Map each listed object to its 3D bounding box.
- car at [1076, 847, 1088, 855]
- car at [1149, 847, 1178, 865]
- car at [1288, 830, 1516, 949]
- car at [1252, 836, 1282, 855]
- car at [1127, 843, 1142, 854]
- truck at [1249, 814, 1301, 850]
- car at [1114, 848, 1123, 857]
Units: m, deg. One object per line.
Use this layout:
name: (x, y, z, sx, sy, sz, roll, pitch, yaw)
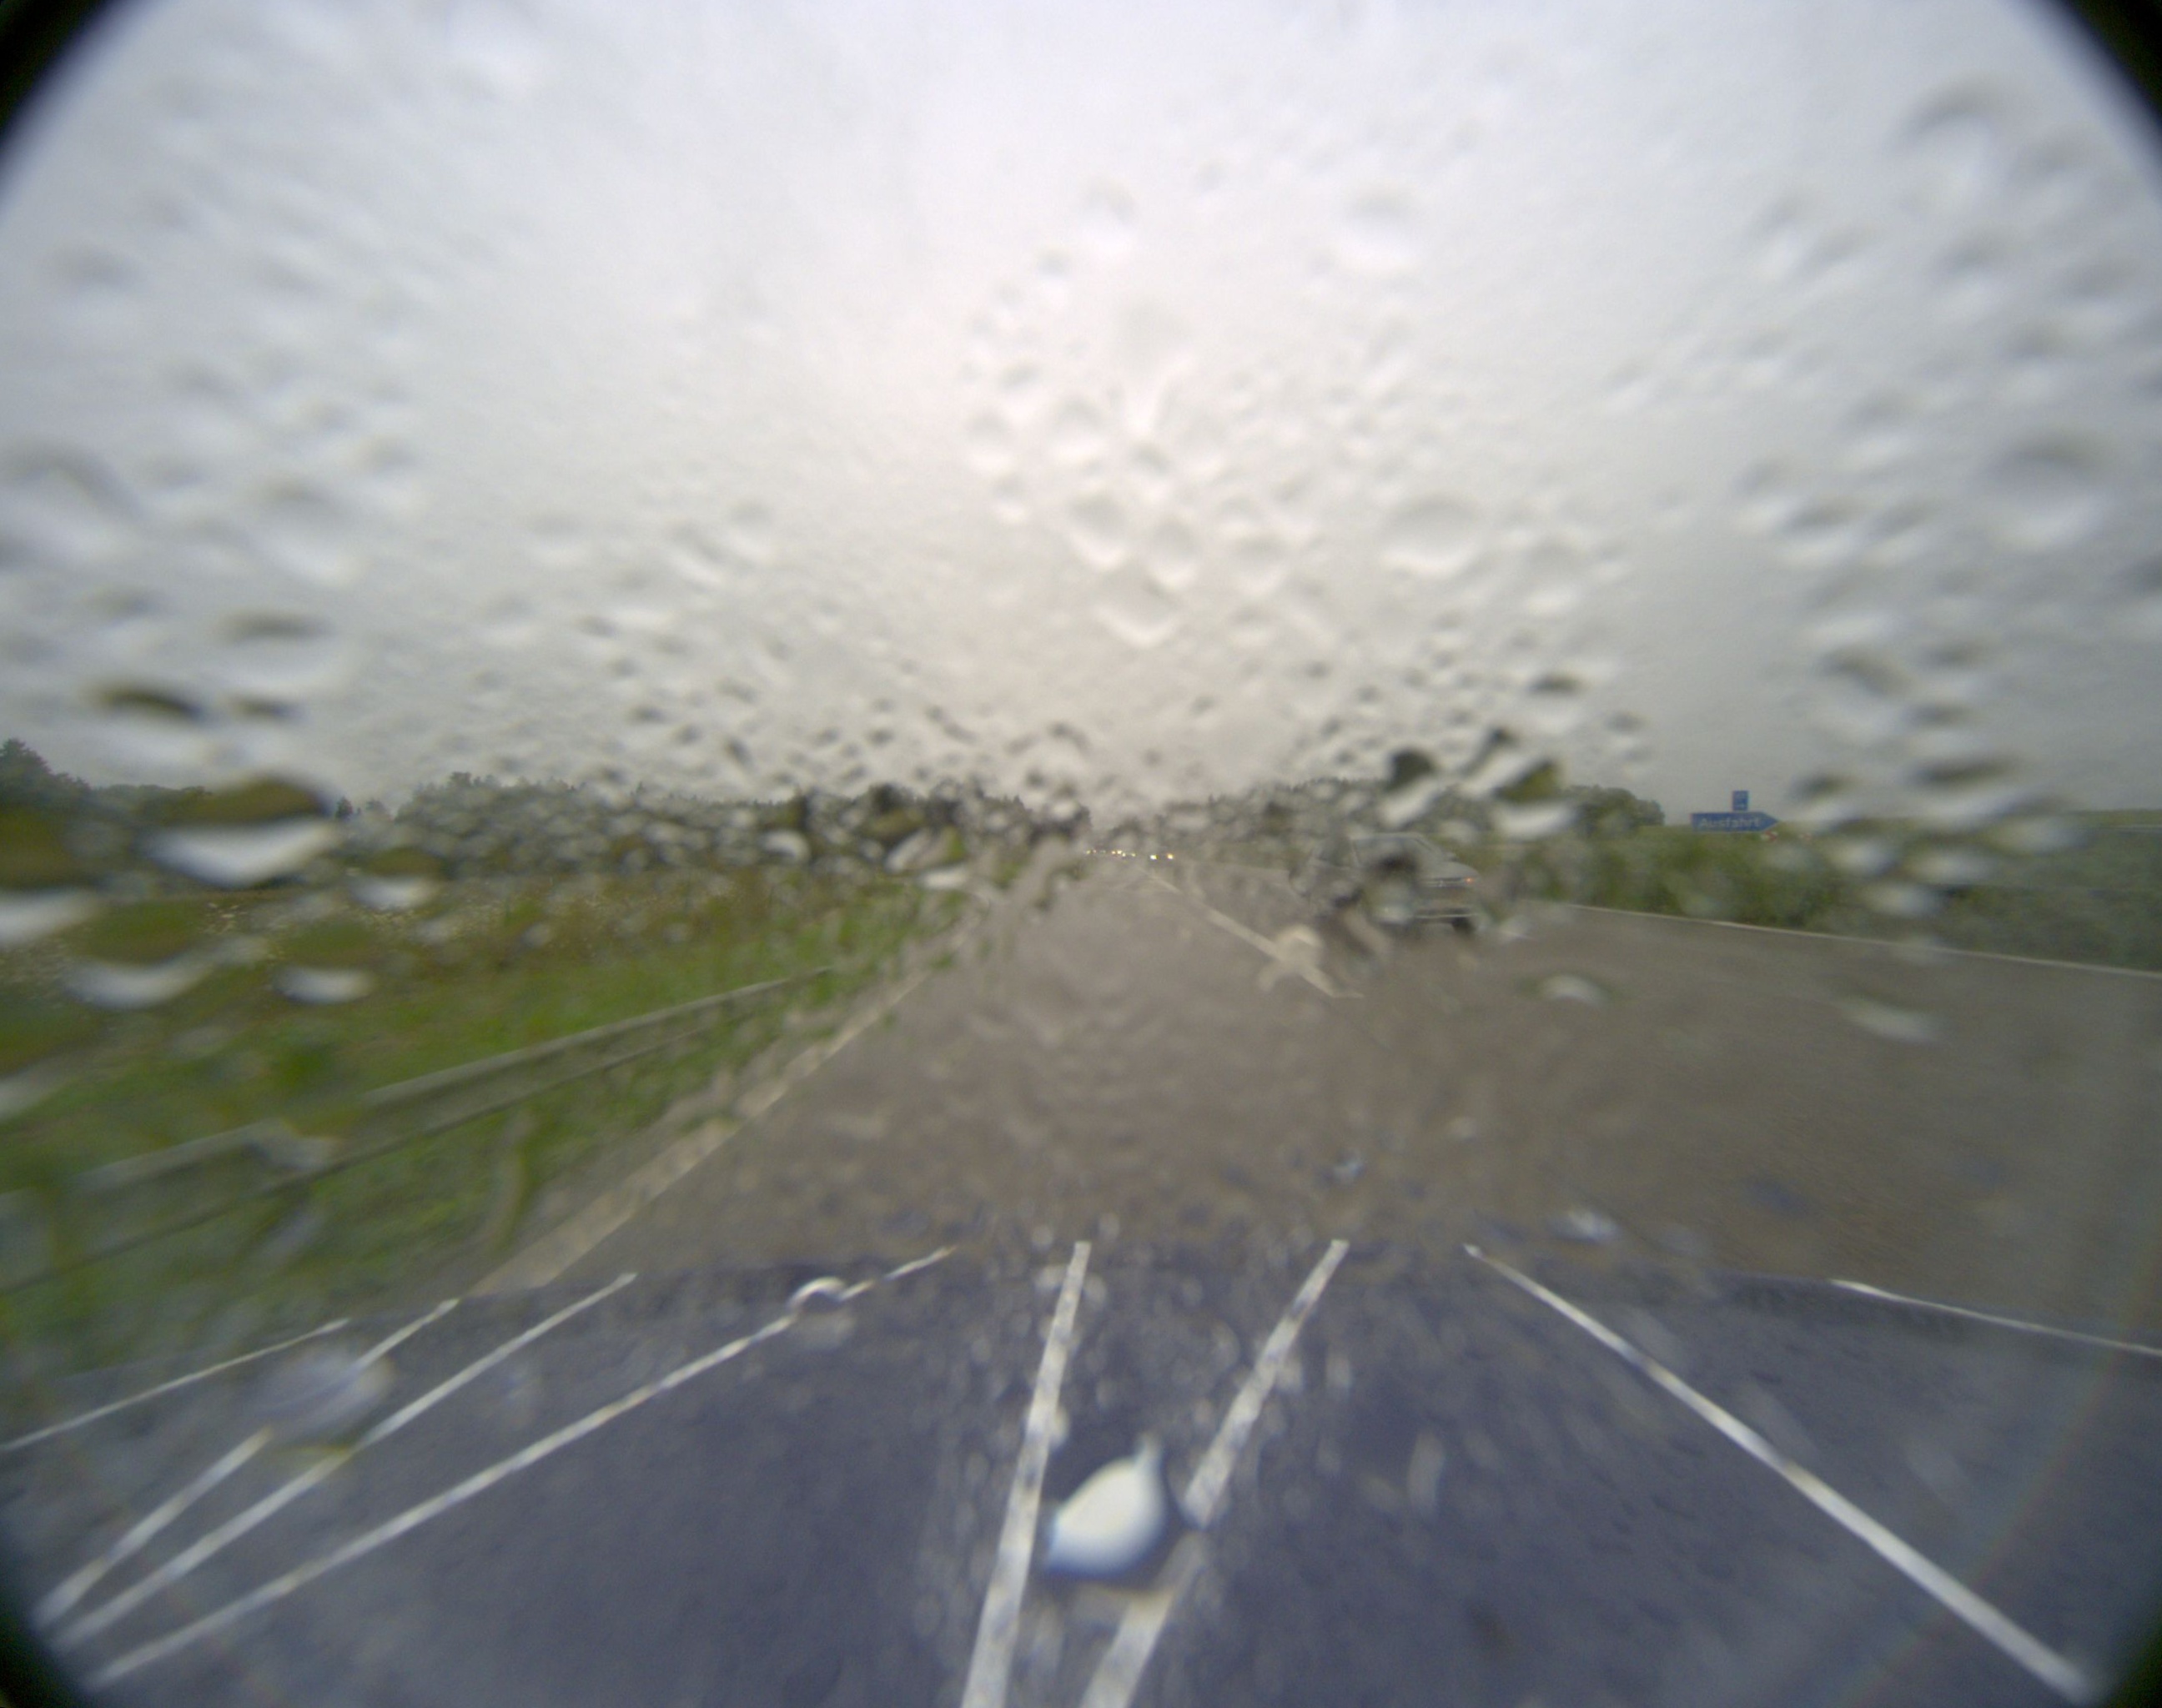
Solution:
car: (0.256, -0.736, 160.511, 2.150, 1.627, 4.595, -1, 1, 3)
car: (6.850, 0.146, 63.571, 2.098, 1.445, 4.595, -1, 1, 3)
car: (5.248, 0.473, 13.332, 1.867, 1.625, 5.101, -2, 1, 1)
car: (19.508, -0.922, 79.769, 2.110, 1.865, 4.531, -3, 1, 2)
car: (8.495, -0.864, 120.588, 2.150, 1.627, 4.595, -1, 1, 3)
truck: (23.674, -2.603, 93.526, 3.202, 3.944, 13.814, -4, 1, 3)
car: (9.270, -0.305, 185.897, 1.998, 2.001, 4.643, 0, -1, 5)
